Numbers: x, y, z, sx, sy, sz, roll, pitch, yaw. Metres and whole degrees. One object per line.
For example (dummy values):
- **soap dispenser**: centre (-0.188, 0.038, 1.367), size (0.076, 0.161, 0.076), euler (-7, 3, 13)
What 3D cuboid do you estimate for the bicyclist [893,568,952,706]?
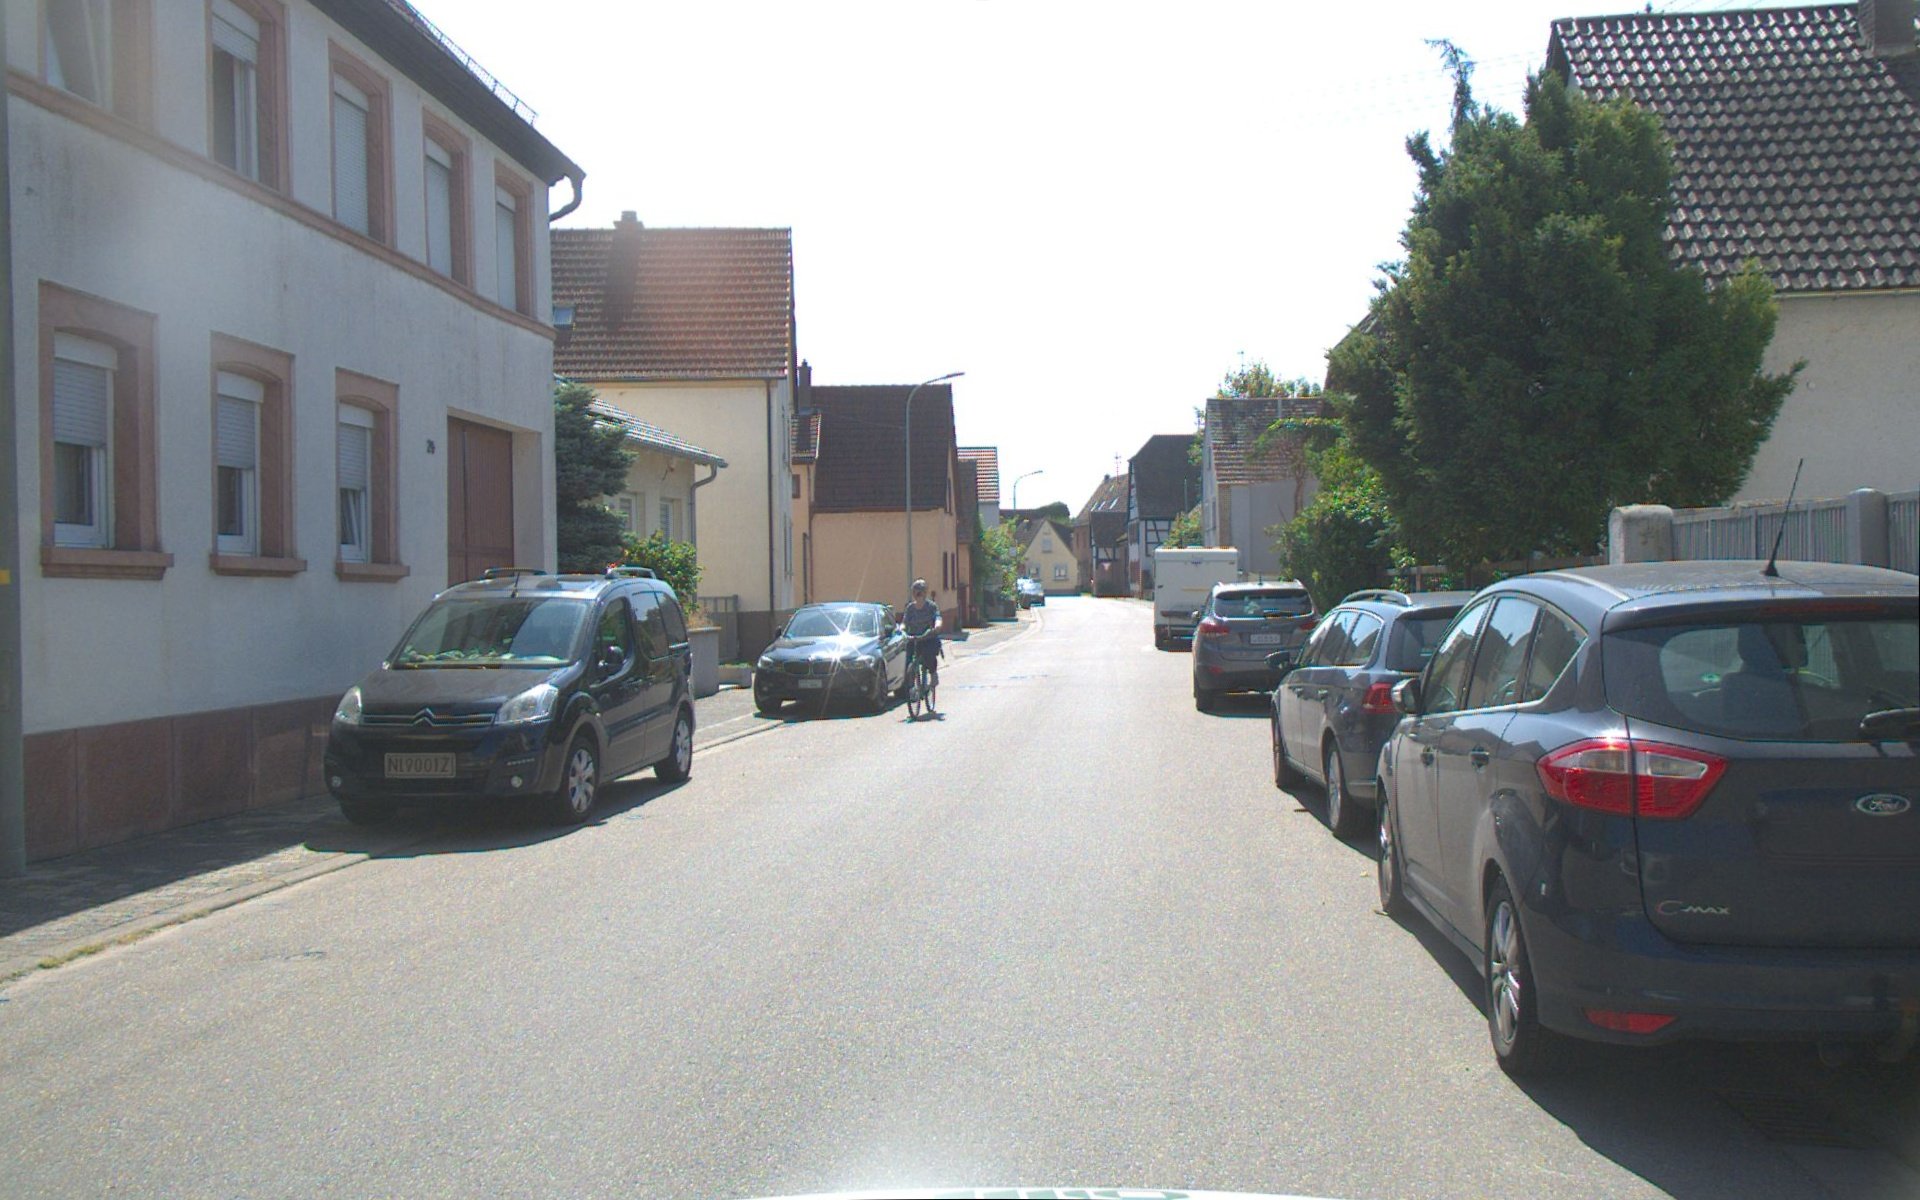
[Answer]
- **bicyclist**: centre (-0.498, 0.485, 22.209), size (0.689, 1.802, 0.625), euler (-2, 0, 2)

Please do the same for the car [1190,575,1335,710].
- **car**: centre (4.144, 0.507, 23.012), size (1.755, 1.659, 4.364), euler (-1, 1, 9)

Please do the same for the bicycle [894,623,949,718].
- **bicycle**: centre (-0.508, 0.920, 22.341), size (0.577, 1.168, 1.949), euler (-2, 0, 2)

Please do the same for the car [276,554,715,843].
- **car**: centre (-3.388, 0.642, 13.041), size (1.796, 1.869, 4.356), euler (-1, 0, 6)

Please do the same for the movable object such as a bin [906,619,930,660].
- **movable object such as a bin**: centre (-1.009, 0.947, 39.841), size (0.527, 0.966, 0.553), euler (0, 0, 5)

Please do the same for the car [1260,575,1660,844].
- **car**: centre (3.321, 0.632, 11.916), size (1.781, 1.535, 4.584), euler (-1, 0, 4)

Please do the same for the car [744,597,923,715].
- **car**: centre (-1.764, 0.757, 24.707), size (1.805, 1.553, 4.769), euler (-1, 0, 6)

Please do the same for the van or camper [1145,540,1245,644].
- **van or camper**: centre (6.576, -0.217, 46.760), size (2.468, 2.744, 4.558), euler (-1, 0, 5)

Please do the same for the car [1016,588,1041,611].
- **car**: centre (4.599, -0.022, 110.601), size (1.480, 1.461, 3.513), euler (-2, 0, 5)

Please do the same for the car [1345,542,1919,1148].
- **car**: centre (2.752, 0.629, 6.644), size (1.759, 1.587, 4.634), euler (-1, 0, 6)

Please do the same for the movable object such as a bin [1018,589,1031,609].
- **movable object such as a bin**: centre (3.851, -0.063, 98.241), size (0.674, 1.206, 0.715), euler (-2, 0, 5)
